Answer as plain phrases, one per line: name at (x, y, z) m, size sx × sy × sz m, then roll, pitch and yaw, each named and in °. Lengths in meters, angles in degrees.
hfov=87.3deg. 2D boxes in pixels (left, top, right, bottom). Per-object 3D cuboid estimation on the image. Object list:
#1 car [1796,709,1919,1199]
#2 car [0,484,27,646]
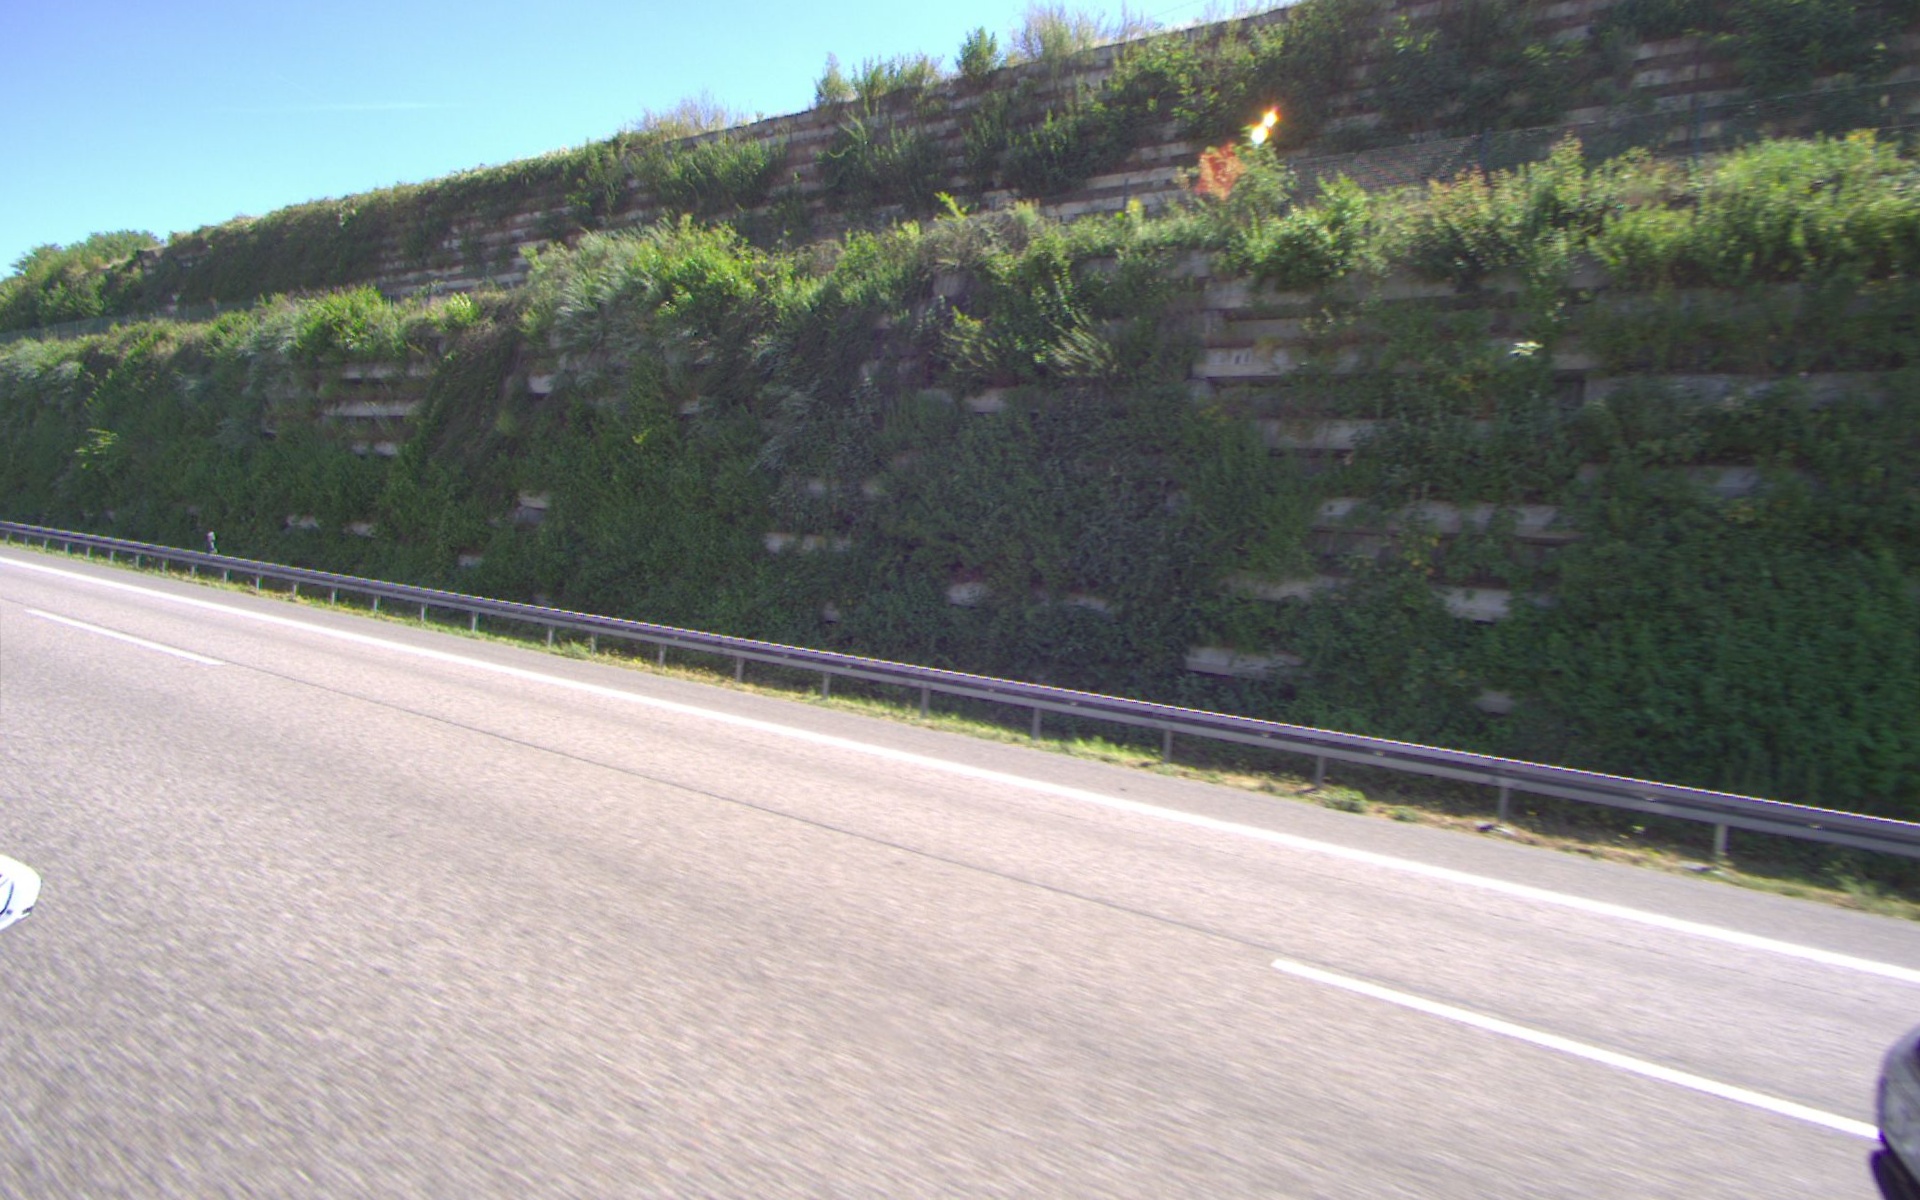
car at (4.030, 1.236, 1.489) m, size 3.929 × 1.543 × 1.752 m, roll 6°, pitch -1°, yaw 31°
car at (-12.072, -0.611, 10.871) m, size 4.069 × 1.673 × 1.797 m, roll 6°, pitch -1°, yaw 32°
